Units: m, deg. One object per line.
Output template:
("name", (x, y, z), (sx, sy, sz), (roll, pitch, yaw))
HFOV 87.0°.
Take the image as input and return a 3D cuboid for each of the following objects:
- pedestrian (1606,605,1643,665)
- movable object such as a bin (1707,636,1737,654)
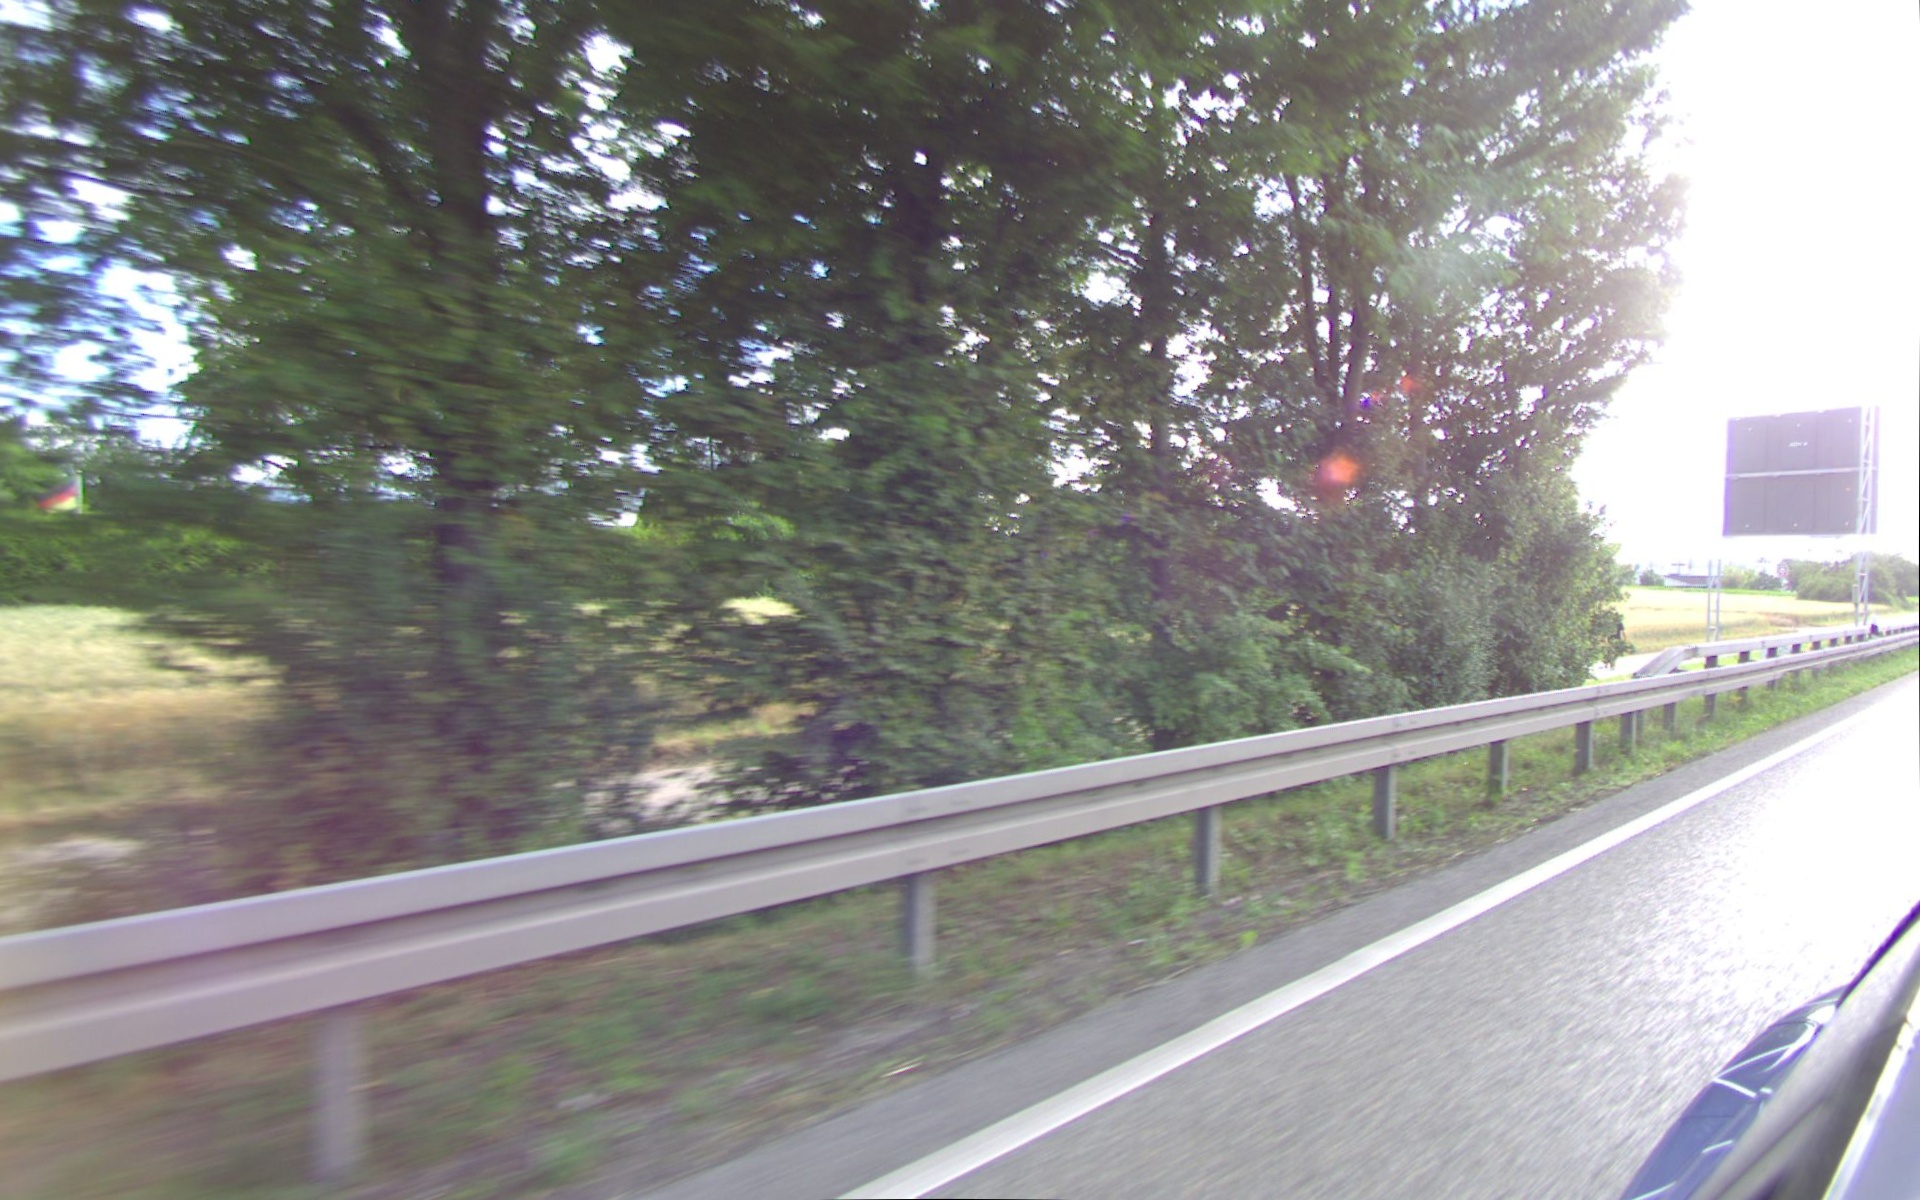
("pedestrian", (21.656, 1.133, 32.987), (0.924, 1.891, 0.772), (0, -1, -43))
("movable object such as a bin", (30.479, 1.803, 40.472), (1.214, 0.654, 0.733), (-1, 0, -43))
